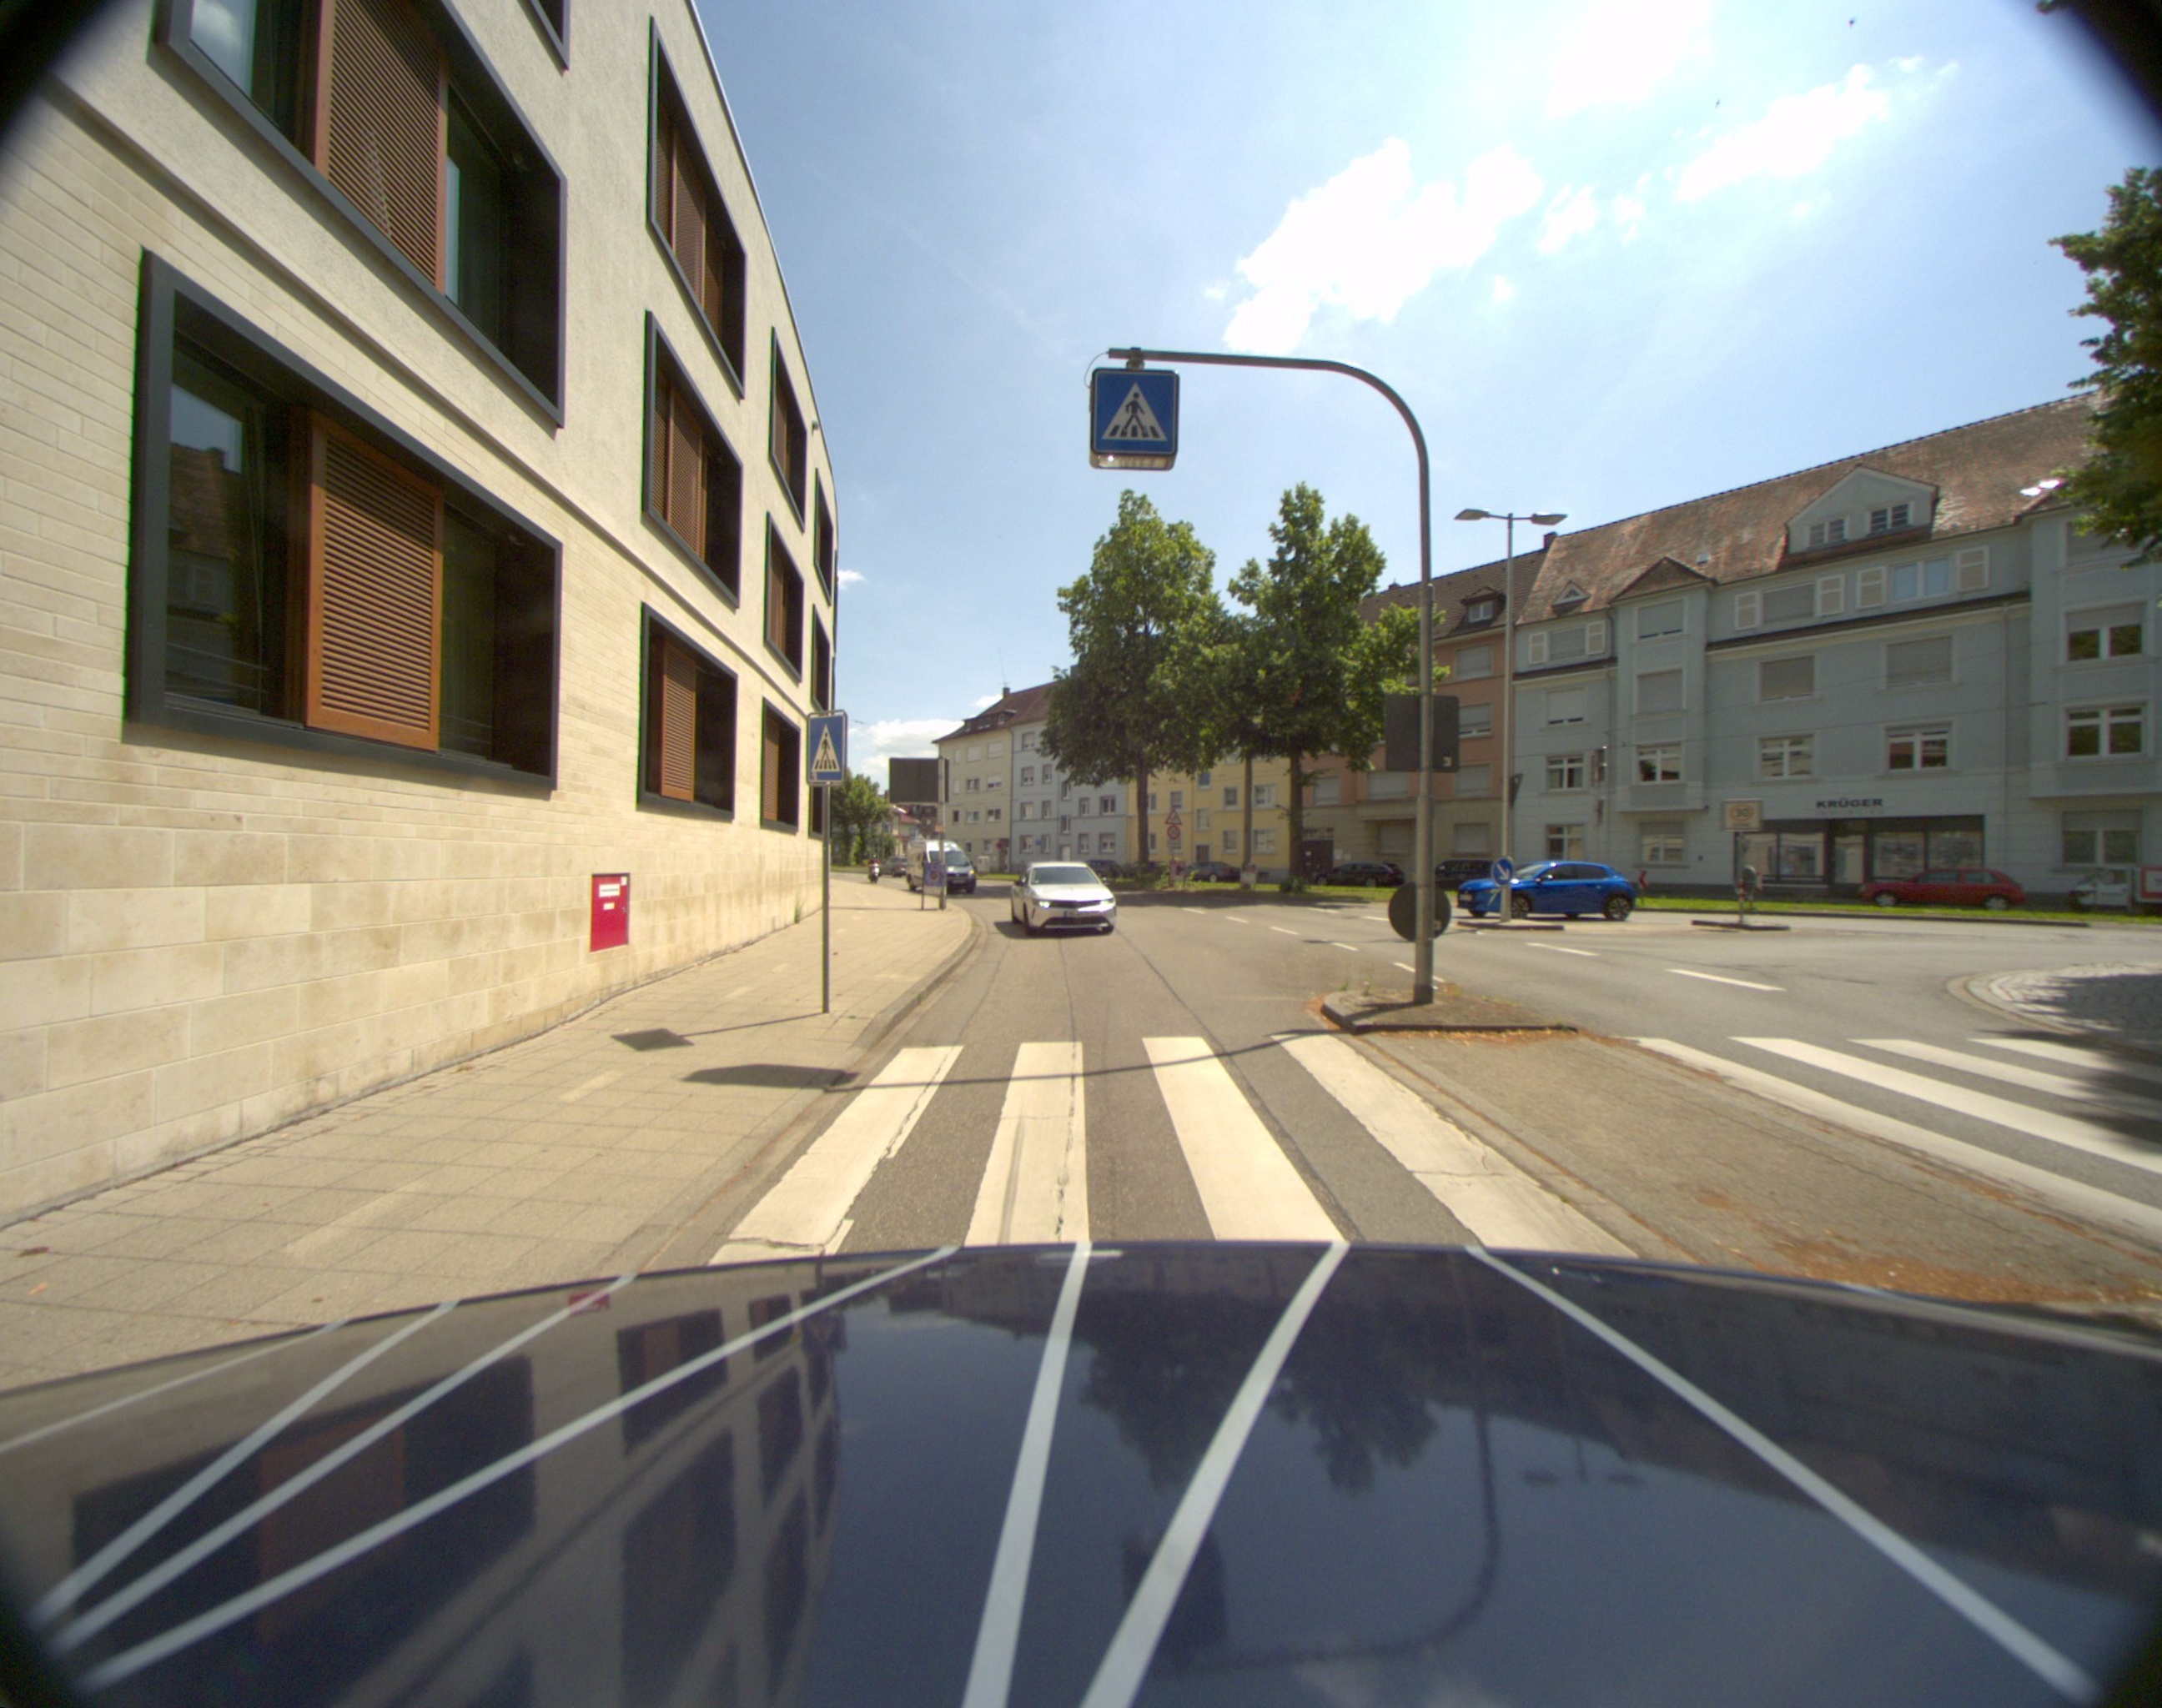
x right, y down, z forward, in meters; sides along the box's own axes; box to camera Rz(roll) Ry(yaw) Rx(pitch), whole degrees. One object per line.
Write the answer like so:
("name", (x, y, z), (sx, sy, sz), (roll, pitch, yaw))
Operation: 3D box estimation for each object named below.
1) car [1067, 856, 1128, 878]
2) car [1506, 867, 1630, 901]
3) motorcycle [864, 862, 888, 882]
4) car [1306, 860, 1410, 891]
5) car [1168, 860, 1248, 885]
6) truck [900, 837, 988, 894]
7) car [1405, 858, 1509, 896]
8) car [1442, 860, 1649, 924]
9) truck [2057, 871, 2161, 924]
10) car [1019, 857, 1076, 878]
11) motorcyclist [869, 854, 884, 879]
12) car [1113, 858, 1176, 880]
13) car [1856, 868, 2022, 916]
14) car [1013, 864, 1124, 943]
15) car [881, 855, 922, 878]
("car", (1.165, 0.961, 56.020), (1.939, 1.496, 4.313), (3, -2, -44))
("car", (21.461, 1.312, 33.596), (1.817, 1.348, 4.238), (4, -2, -42))
("motorcycle", (-11.391, 0.992, 42.104), (1.058, 1.073, 2.612), (0, 0, -20))
("car", (14.771, 1.148, 40.709), (1.939, 1.481, 4.849), (4, -2, -42))
("car", (7.981, 1.155, 48.244), (1.939, 1.389, 4.849), (4, -2, -41))
("truck", (-5.958, 0.416, 32.385), (2.025, 2.236, 5.394), (1, 1, -29))
("car", (18.278, 1.084, 37.040), (1.847, 1.675, 4.130), (4, -2, -42))
("car", (11.273, 0.896, 18.613), (3.998, 1.483, 1.815), (0, -1, -3))
("truck", (31.511, 1.305, 22.834), (1.132, 1.485, 2.587), (4, -2, -43))
("car", (-2.668, 1.033, 59.865), (1.939, 1.442, 4.363), (5, -3, -44))
("motorcyclist", (-11.296, 0.673, 41.952), (0.736, 1.329, 1.169), (0, 0, -20))
("car", (4.347, 1.017, 52.383), (1.841, 1.391, 4.130), (3, -2, -42))
("car", (28.698, 1.243, 25.551), (1.580, 1.442, 3.615), (4, -2, -42))
("car", (-0.408, 0.947, 16.372), (1.802, 1.457, 4.168), (0, 0, -10))
("car", (-12.245, 0.852, 51.686), (1.746, 1.479, 4.398), (0, 0, -26))
